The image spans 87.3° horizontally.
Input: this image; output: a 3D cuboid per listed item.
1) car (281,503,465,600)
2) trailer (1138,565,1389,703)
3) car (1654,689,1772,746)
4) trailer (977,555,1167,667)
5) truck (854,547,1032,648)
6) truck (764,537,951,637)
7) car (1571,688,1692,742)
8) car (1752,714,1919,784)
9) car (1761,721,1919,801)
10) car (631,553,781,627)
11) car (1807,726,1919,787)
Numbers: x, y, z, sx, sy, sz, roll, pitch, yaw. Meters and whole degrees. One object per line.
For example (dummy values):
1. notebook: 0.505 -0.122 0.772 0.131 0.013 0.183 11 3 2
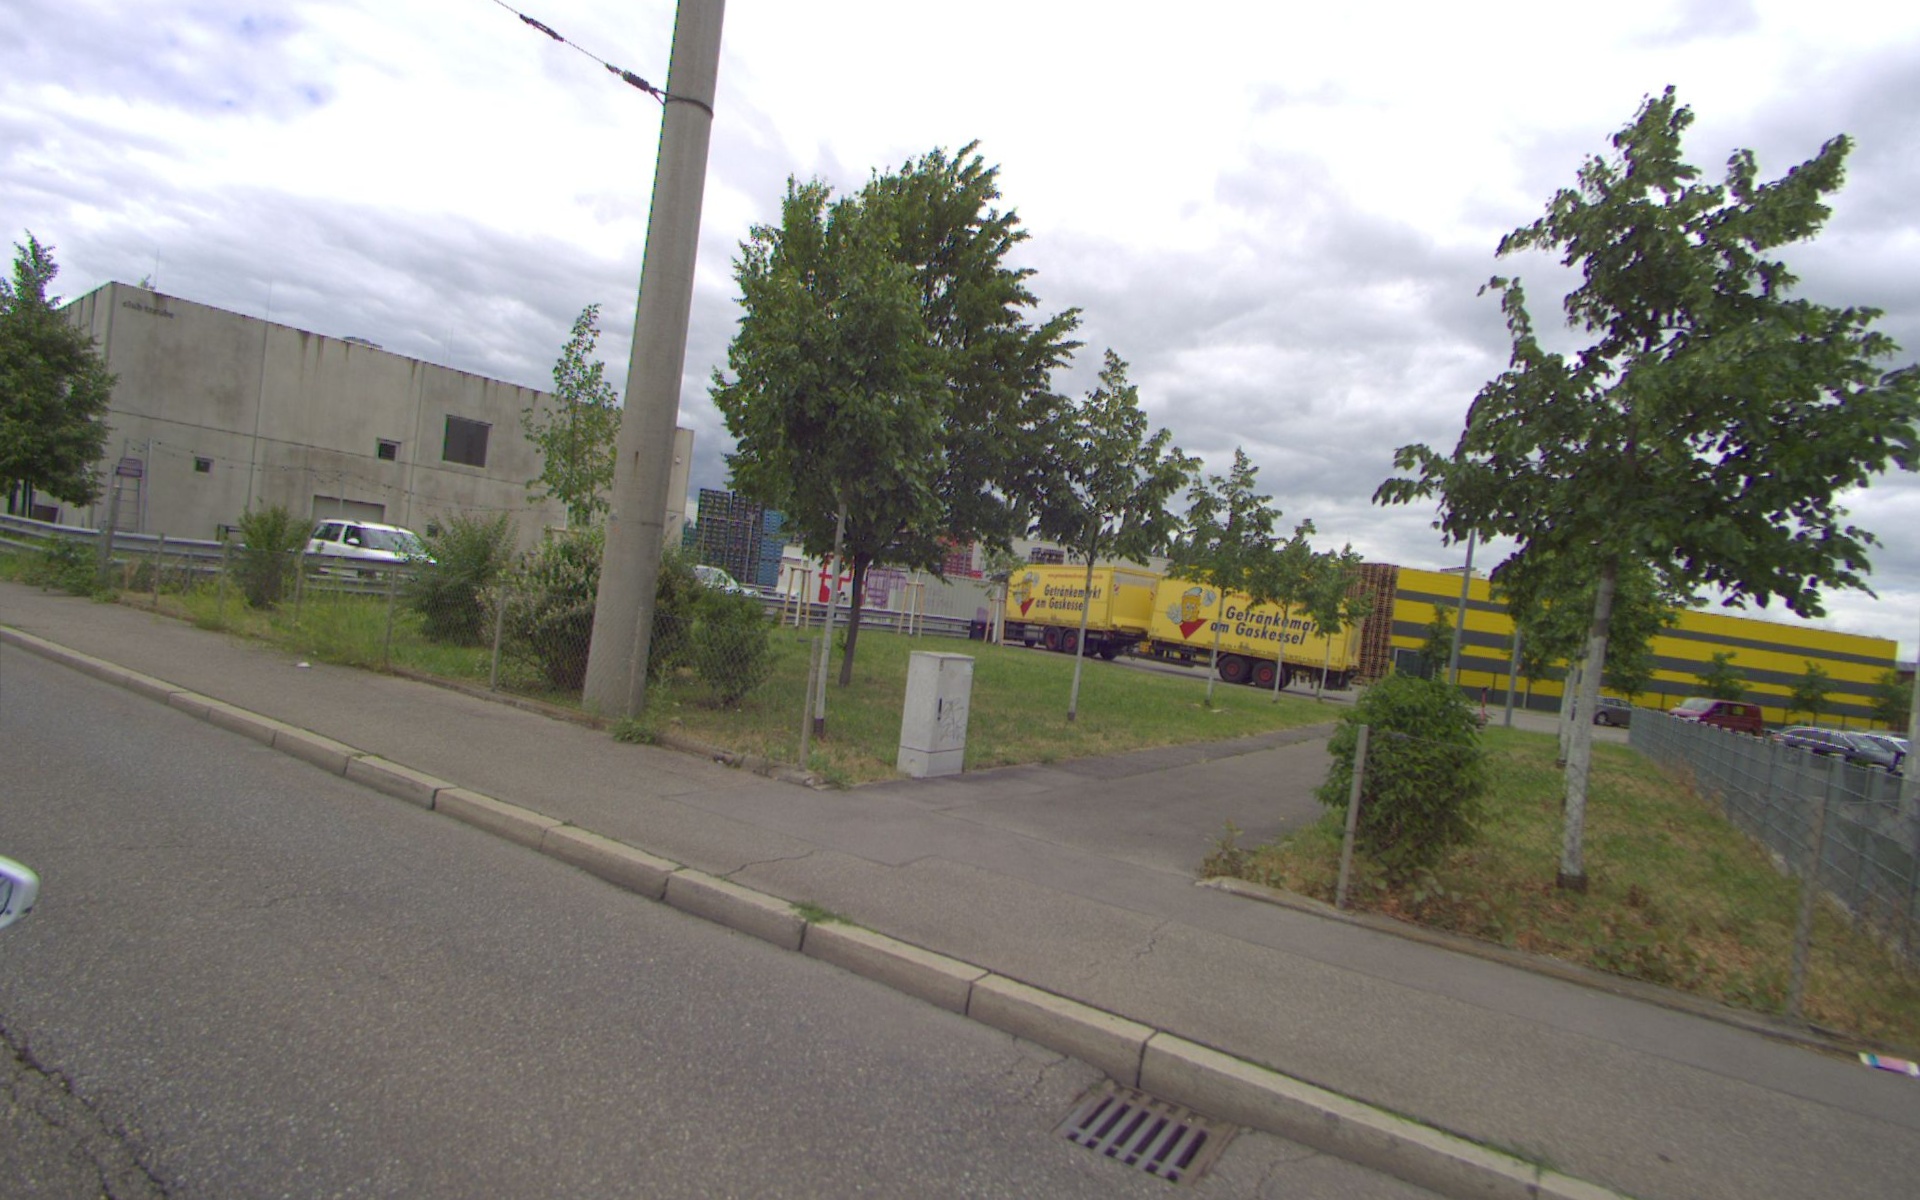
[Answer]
1. car: -13.422 -1.124 22.919 4.358 1.592 1.752 8 -1 34
2. trailer: 11.814 1.240 39.528 8.551 4.124 2.942 8 2 32
3. car: 37.775 5.863 50.508 4.298 2.144 2.001 8 -2 -3
4. trailer: 4.756 0.299 45.735 2.887 4.013 9.943 7 1 -30
5. truck: -0.550 -0.003 42.142 2.588 3.070 7.740 6 -3 42
6. truck: -4.228 -0.495 43.058 7.721 3.071 2.325 10 -3 -40
7. car: 32.064 5.481 48.148 4.298 1.714 1.997 8 2 -3
8. car: 30.891 5.180 35.325 1.971 1.604 4.358 7 0 -18
9. car: 27.338 4.879 30.442 1.971 1.604 4.358 7 0 -18
10. car: -7.938 -0.333 31.268 4.616 1.741 1.911 7 0 37
11. car: 34.313 5.834 36.962 1.971 1.604 4.358 7 0 -18
